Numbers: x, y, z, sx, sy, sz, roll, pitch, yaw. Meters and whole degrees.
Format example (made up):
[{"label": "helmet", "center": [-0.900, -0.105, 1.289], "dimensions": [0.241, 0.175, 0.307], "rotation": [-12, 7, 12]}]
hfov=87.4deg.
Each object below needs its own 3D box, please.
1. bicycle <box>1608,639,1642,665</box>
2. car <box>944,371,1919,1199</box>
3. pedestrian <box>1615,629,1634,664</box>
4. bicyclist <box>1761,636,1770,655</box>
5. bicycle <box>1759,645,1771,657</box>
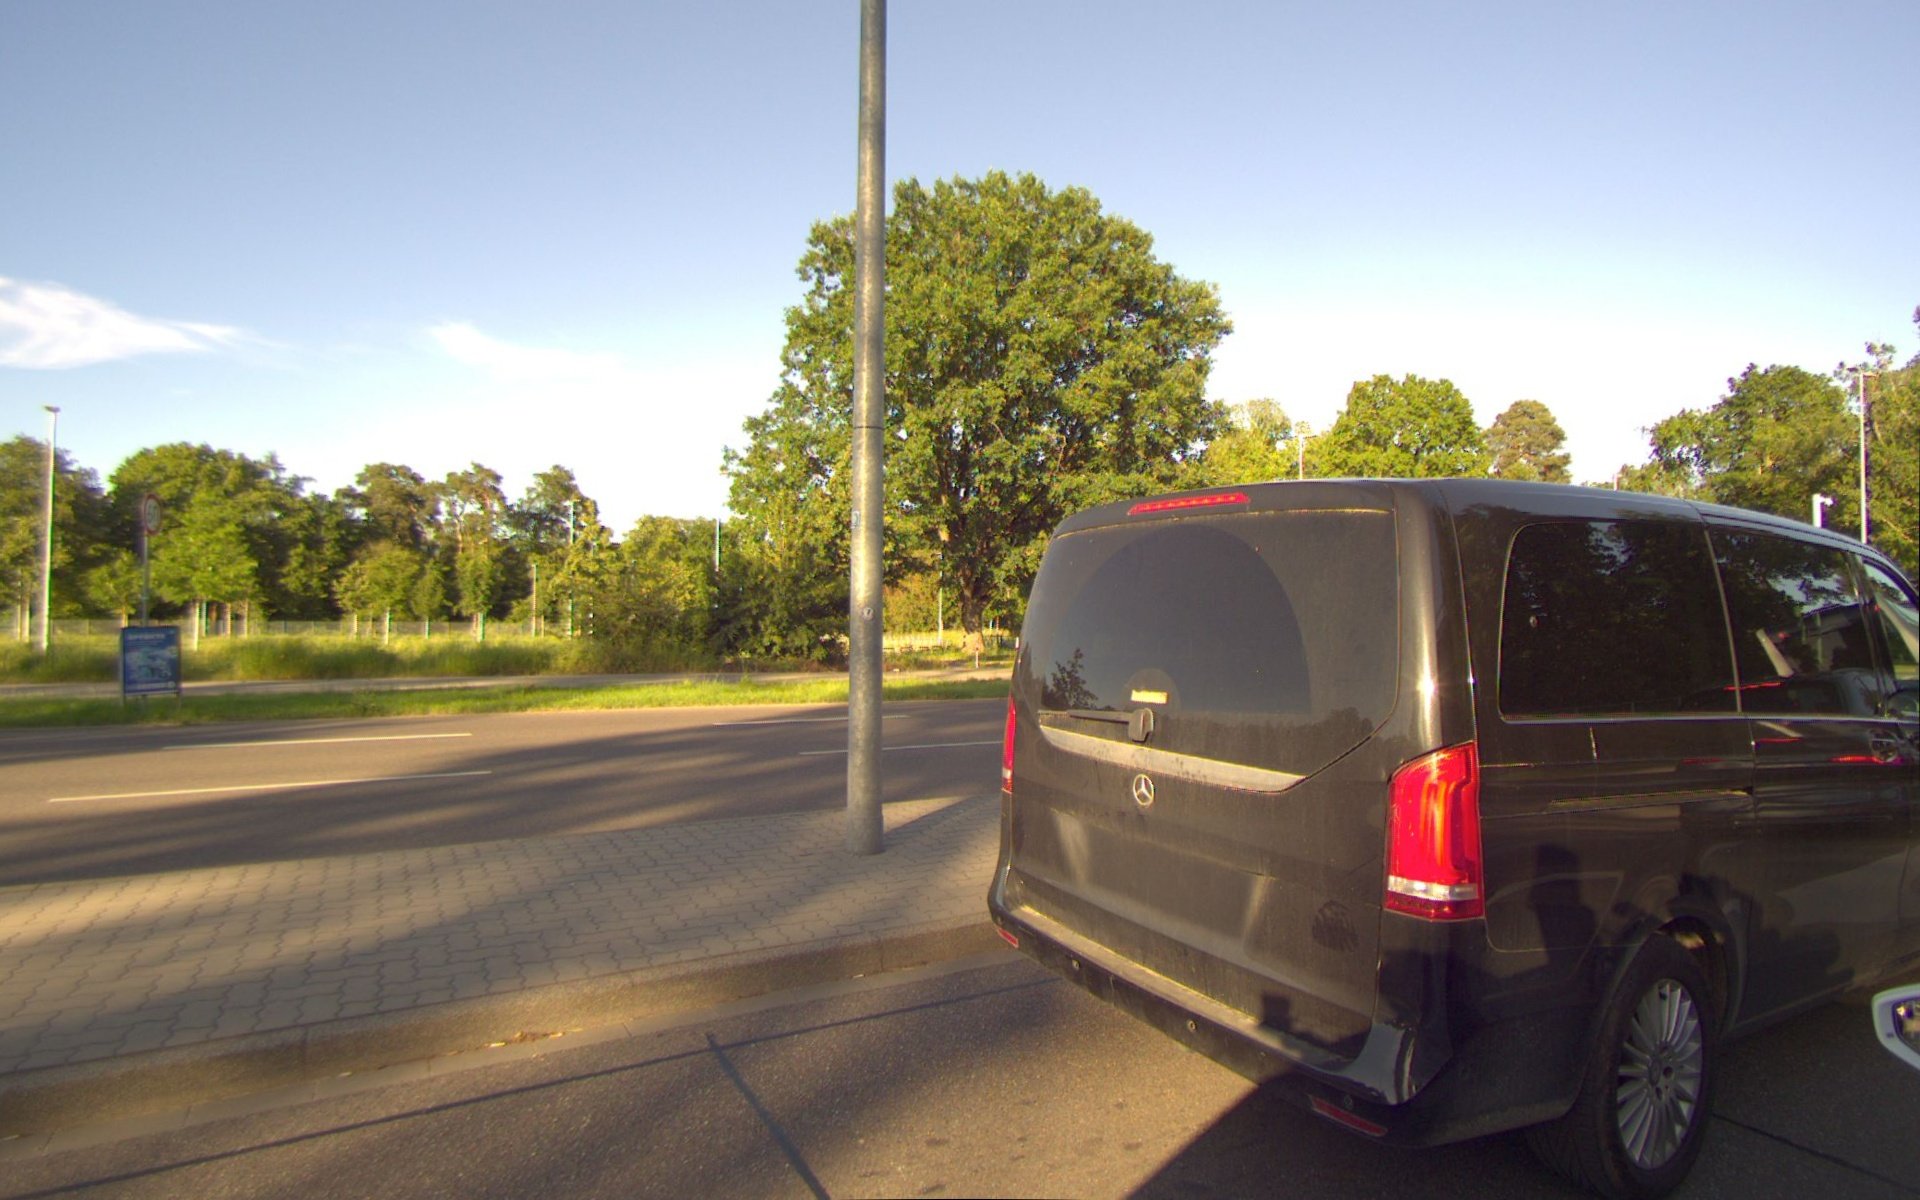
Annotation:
[{"label": "bicycle", "center": [30.634, 2.395, 46.249], "dimensions": [1.980, 1.193, 0.466], "rotation": [2, 0, -31]}, {"label": "car", "center": [2.490, 0.524, 4.026], "dimensions": [4.818, 1.881, 1.897], "rotation": [1, 0, -32]}, {"label": "pedestrian", "center": [30.591, 2.129, 46.224], "dimensions": [0.641, 1.583, 0.479], "rotation": [2, 0, -30]}, {"label": "bicyclist", "center": [41.128, 2.336, 51.272], "dimensions": [0.238, 0.975, 0.271], "rotation": [2, 0, -34]}, {"label": "bicycle", "center": [41.106, 2.596, 51.271], "dimensions": [0.831, 0.589, 0.264], "rotation": [2, 0, -36]}]
